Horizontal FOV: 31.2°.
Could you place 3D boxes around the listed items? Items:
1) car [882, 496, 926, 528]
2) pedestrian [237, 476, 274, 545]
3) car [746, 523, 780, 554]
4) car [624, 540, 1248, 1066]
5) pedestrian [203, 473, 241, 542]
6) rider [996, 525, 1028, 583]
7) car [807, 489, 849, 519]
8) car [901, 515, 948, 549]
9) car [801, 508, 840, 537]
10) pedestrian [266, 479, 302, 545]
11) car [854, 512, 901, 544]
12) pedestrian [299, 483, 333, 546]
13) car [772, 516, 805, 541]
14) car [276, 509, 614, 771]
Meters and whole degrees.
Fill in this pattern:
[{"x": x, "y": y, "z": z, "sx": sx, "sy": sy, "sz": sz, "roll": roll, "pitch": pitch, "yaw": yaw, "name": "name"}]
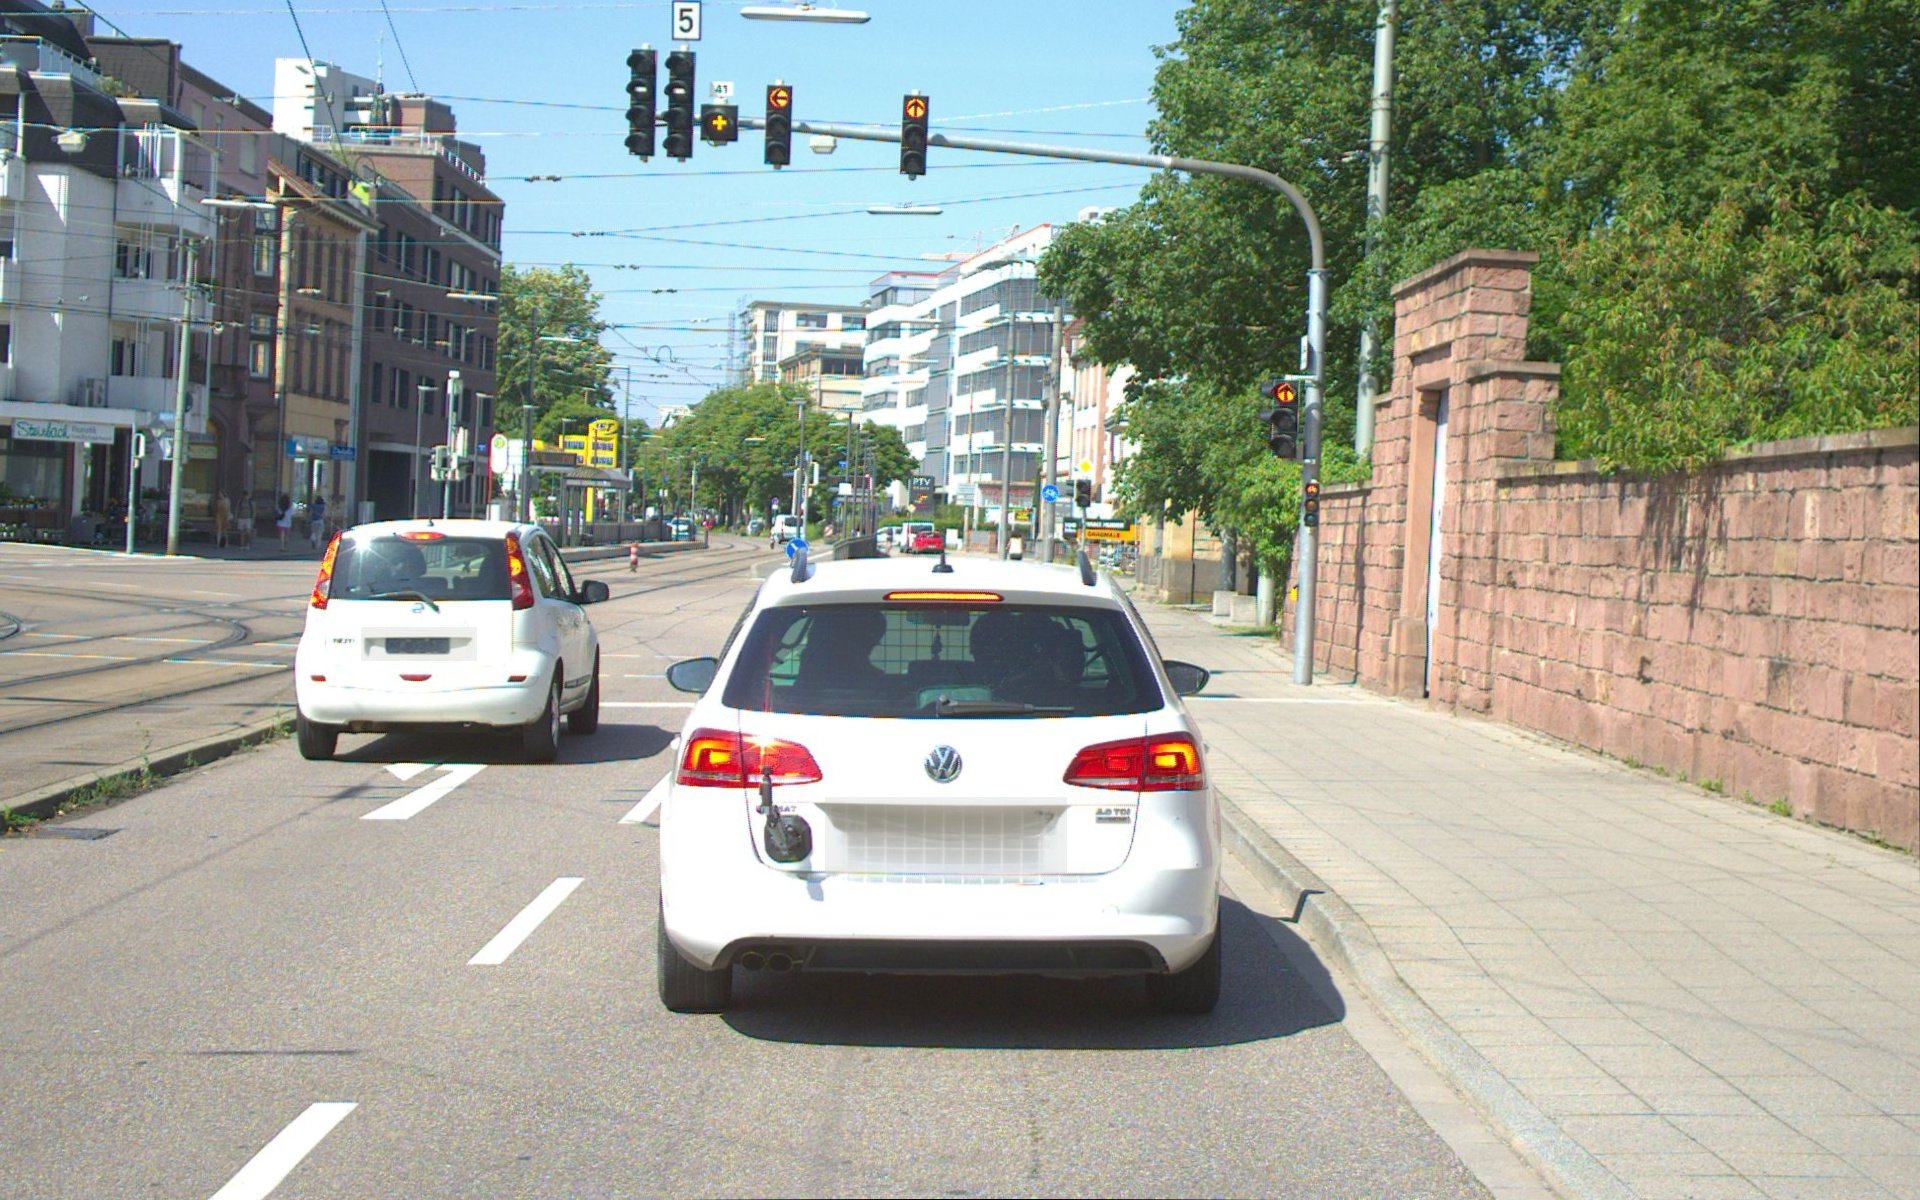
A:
[{"x": -3.739, "y": -5.810, "z": 227.662, "sx": 1.993, "sy": 2.007, "sz": 4.002, "roll": 2, "pitch": 1, "yaw": -14, "name": "car"}, {"x": -20.994, "y": -2.668, "z": 102.477, "sx": 0.936, "sy": 2.007, "sz": 0.991, "roll": 2, "pitch": 1, "yaw": -5, "name": "pedestrian"}, {"x": -10.694, "y": -3.357, "z": 186.636, "sx": 1.698, "sy": 1.585, "sz": 3.535, "roll": 2, "pitch": 1, "yaw": -1, "name": "car"}, {"x": -0.024, "y": 0.544, "z": 11.728, "sx": 1.779, "sy": 1.485, "sz": 3.847, "roll": 0, "pitch": 1, "yaw": 1, "name": "car"}, {"x": -21.974, "y": -2.743, "z": 102.356, "sx": 0.936, "sy": 2.007, "sz": 0.991, "roll": 2, "pitch": 1, "yaw": -4, "name": "pedestrian"}, {"x": 1.569, "y": -1.396, "z": 103.801, "sx": 0.891, "sy": 1.722, "sz": 2.204, "roll": 2, "pitch": 1, "yaw": 0, "name": "rider"}, {"x": -9.534, "y": -6.943, "z": 248.531, "sx": 1.993, "sy": 2.006, "sz": 4.002, "roll": 4, "pitch": 1, "yaw": -16, "name": "car"}, {"x": -2.220, "y": -4.246, "z": 213.364, "sx": 1.993, "sy": 2.007, "sz": 4.002, "roll": 2, "pitch": 1, "yaw": -14, "name": "car"}, {"x": -10.296, "y": -5.703, "z": 253.724, "sx": 1.993, "sy": 2.007, "sz": 4.002, "roll": 2, "pitch": 1, "yaw": -14, "name": "car"}, {"x": -20.770, "y": -2.700, "z": 105.622, "sx": 0.936, "sy": 2.007, "sz": 0.991, "roll": 2, "pitch": 1, "yaw": -7, "name": "pedestrian"}, {"x": -5.101, "y": -4.443, "z": 211.560, "sx": 1.993, "sy": 1.897, "sz": 4.002, "roll": 2, "pitch": 1, "yaw": -14, "name": "car"}, {"x": -20.795, "y": -2.765, "z": 111.046, "sx": 0.936, "sy": 2.007, "sz": 0.991, "roll": 2, "pitch": 1, "yaw": -6, "name": "pedestrian"}, {"x": -11.476, "y": -4.771, "z": 229.661, "sx": 1.698, "sy": 1.585, "sz": 3.536, "roll": 2, "pitch": 1, "yaw": -11, "name": "car"}, {"x": -3.433, "y": 0.206, "z": 23.563, "sx": 1.730, "sy": 1.590, "sz": 4.011, "roll": 2, "pitch": 1, "yaw": -1, "name": "car"}]
